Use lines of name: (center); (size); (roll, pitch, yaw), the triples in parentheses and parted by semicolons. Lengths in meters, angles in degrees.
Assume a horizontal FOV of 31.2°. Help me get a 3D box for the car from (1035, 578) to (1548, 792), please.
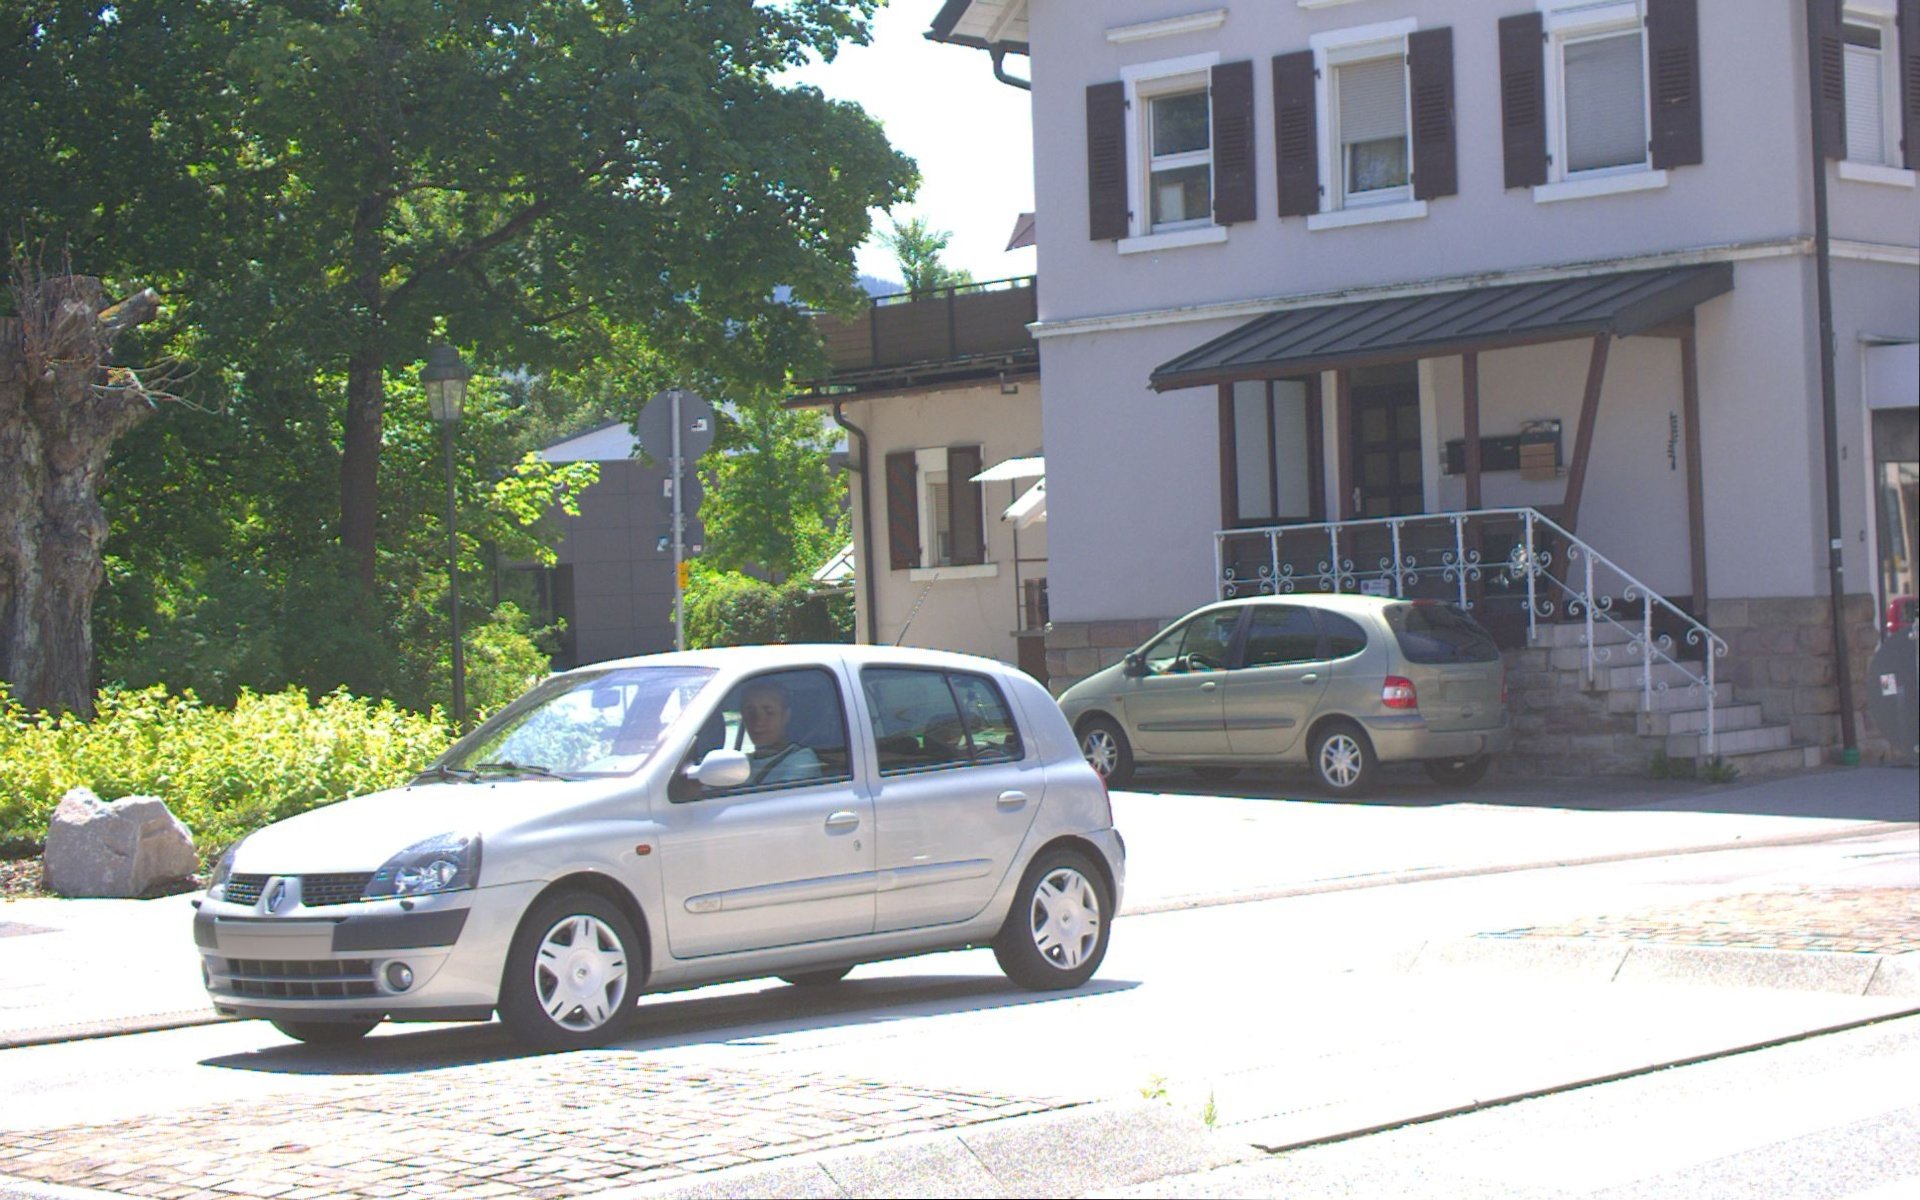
car: (2.706, 0.695, 28.688); (3.997, 1.634, 1.753); (-2, 0, 44)

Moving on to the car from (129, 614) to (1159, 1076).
car: (-1.086, 0.851, 13.060); (1.548, 1.408, 3.709); (-5, -2, 44)
